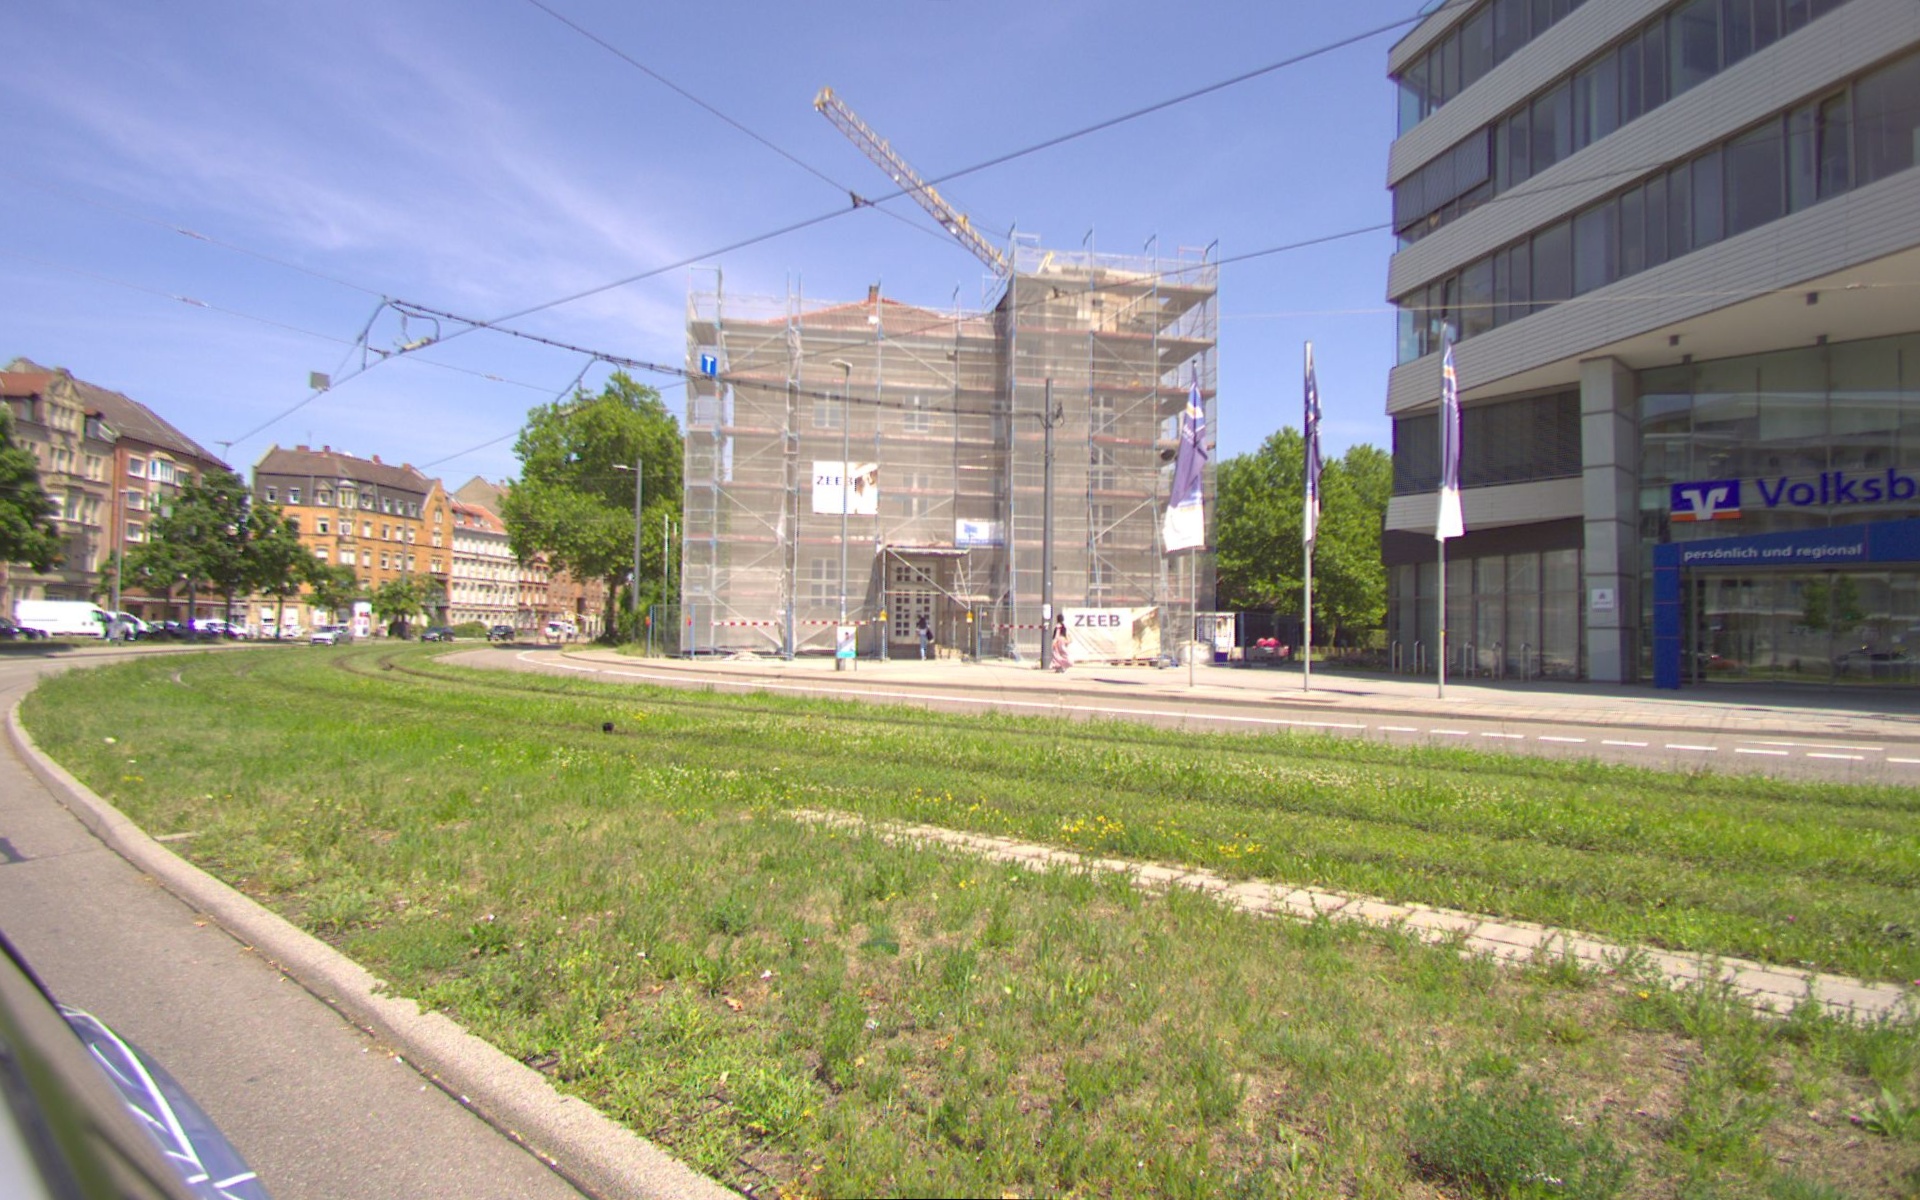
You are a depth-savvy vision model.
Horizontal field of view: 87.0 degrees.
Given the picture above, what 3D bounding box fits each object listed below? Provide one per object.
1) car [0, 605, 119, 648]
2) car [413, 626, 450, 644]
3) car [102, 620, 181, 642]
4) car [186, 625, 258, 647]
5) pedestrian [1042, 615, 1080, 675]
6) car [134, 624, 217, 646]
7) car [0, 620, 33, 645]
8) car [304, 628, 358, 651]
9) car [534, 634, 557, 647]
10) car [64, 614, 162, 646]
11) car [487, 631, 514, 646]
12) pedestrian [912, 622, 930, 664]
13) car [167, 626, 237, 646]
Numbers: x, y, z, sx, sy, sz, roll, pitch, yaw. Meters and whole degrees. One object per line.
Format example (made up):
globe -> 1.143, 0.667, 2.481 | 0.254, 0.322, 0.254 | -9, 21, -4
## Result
car -> -54.604, 1.613, 61.240 | 2.238, 2.479, 5.473 | -2, -3, 43
car -> -47.308, 3.133, 90.628 | 1.772, 1.586, 4.008 | 0, -2, -9
car -> -55.112, 2.089, 68.226 | 3.932, 1.397, 1.829 | 0, -2, -32
car -> -56.796, 2.754, 78.021 | 4.338, 1.644, 2.006 | 0, -2, -32
pedestrian -> 2.829, 1.259, 28.334 | 0.908, 1.643, 0.745 | -1, -2, 18
car -> -55.645, 2.471, 71.903 | 4.556, 1.508, 1.970 | 1, -2, -35
car -> -52.406, 1.733, 53.874 | 1.972, 1.349, 4.369 | -2, -3, 43
car -> -43.648, 2.737, 70.327 | 1.772, 1.586, 4.008 | 0, -2, -9
car -> -53.581, 5.228, 130.893 | 1.773, 1.586, 4.006 | 0, -2, -7
car -> -54.555, 1.924, 65.301 | 4.771, 1.988, 2.080 | 1, -2, -39
car -> -48.650, 4.086, 107.134 | 1.772, 1.586, 4.009 | 0, -2, -12
pedestrian -> -1.430, 1.561, 37.109 | 0.573, 1.530, 0.589 | -1, -2, 3
car -> -56.051, 2.629, 74.920 | 3.932, 1.410, 1.829 | 0, -2, -32
